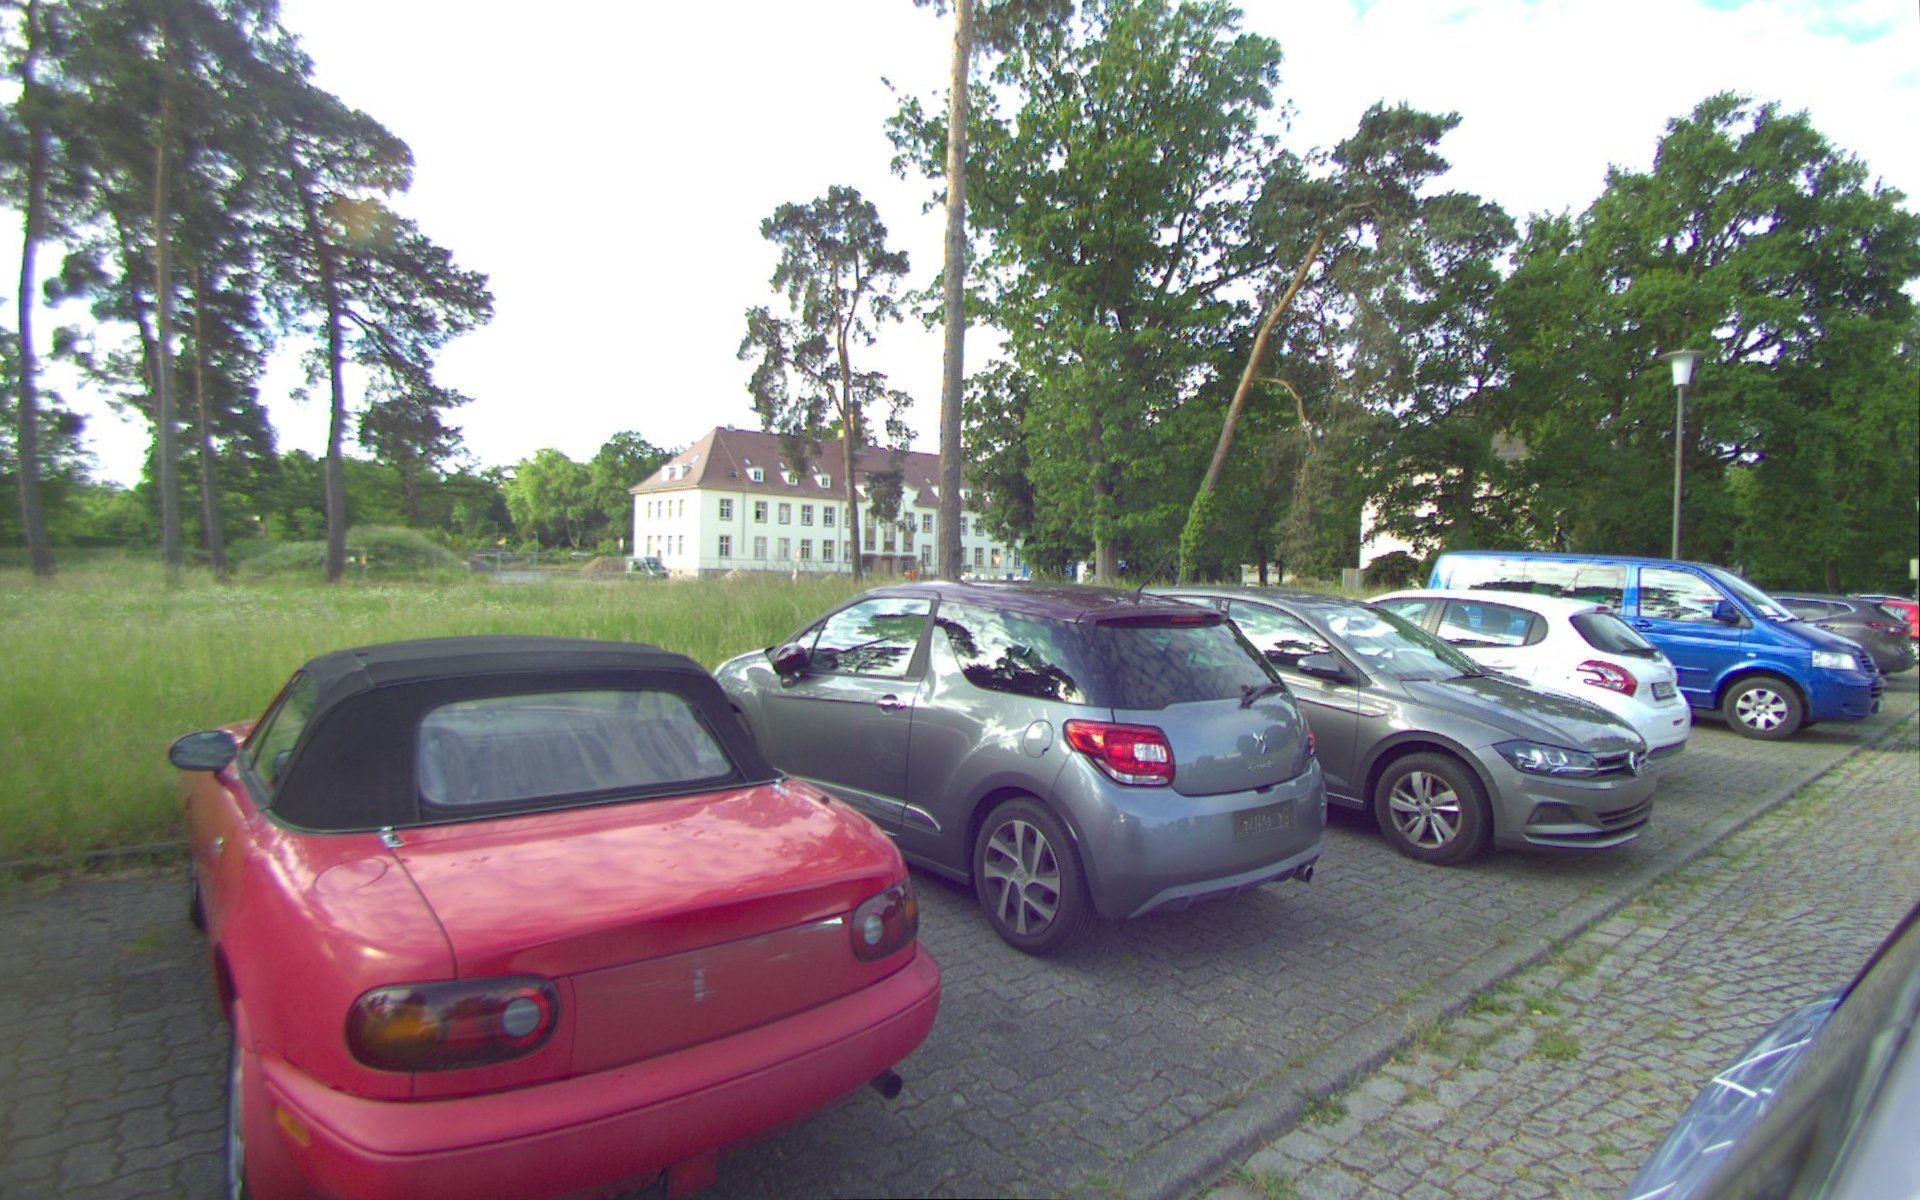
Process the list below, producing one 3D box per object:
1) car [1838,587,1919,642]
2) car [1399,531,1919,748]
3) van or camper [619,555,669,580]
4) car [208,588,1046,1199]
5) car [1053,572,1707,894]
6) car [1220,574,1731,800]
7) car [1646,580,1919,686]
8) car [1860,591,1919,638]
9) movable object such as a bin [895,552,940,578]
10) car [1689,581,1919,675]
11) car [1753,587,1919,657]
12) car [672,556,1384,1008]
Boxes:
[{"bbox_3d":[30.202,0.489,31.648,1.551,1.638,3.841,0,2,-36],"label":"car"},{"bbox_3d":[8.422,0.269,12.617,2.024,2.047,4.955,0,4,-40],"label":"car"},{"bbox_3d":[-30.750,-3.190,98.356,6.063,2.250,1.969,3,2,43],"label":"van or camper"},{"bbox_3d":[-1.503,0.679,3.442,1.579,1.302,3.556,-1,3,-38],"label":"car"},{"bbox_3d":[2.538,0.604,6.881,1.613,1.483,3.782,0,2,-39],"label":"car"},{"bbox_3d":[4.378,0.576,9.091,1.552,1.517,3.762,0,2,-39],"label":"car"},{"bbox_3d":[14.810,0.505,18.211,1.555,1.621,3.832,0,2,-44],"label":"car"},{"bbox_3d":[33.700,0.547,34.775,1.642,1.548,3.841,0,2,-36],"label":"car"},{"bbox_3d":[-4.789,-4.007,115.590,1.994,2.802,5.122,3,2,44],"label":"movable object such as a bin"},{"bbox_3d":[16.911,0.491,20.173,1.555,1.621,3.627,0,2,-44],"label":"car"},{"bbox_3d":[22.306,0.524,25.193,1.555,1.544,3.832,0,2,-44],"label":"car"},{"bbox_3d":[0.031,0.562,5.450,1.576,1.522,3.836,0,2,-41],"label":"car"}]
